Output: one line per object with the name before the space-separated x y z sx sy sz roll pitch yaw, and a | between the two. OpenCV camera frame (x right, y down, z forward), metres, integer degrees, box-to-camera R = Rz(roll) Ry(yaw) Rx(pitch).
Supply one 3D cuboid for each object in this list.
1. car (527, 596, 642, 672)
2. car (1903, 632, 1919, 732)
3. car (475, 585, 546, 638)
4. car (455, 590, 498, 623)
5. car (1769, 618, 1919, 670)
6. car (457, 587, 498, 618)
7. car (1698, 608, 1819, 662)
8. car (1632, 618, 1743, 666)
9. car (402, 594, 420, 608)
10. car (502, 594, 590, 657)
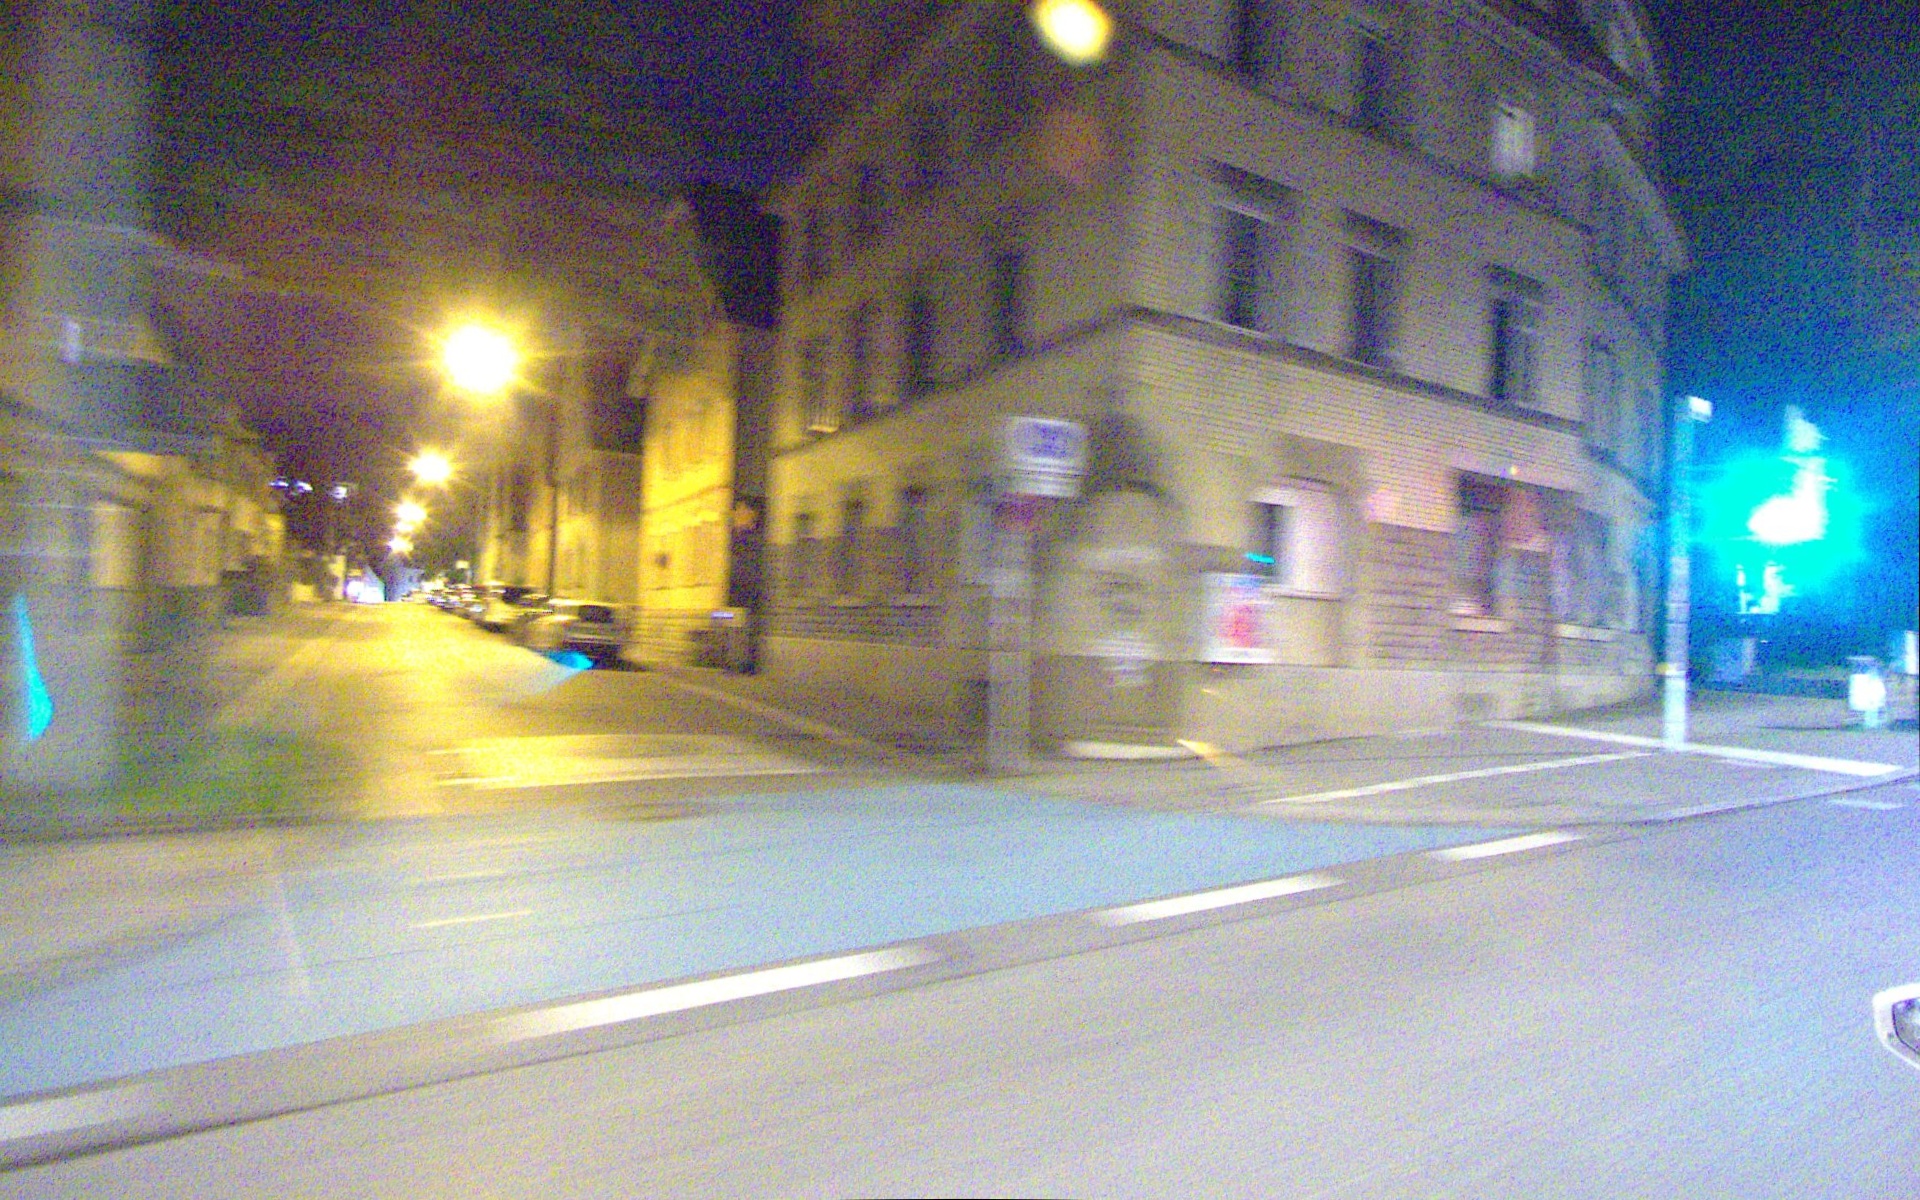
car | -9.287 0.785 24.672 1.907 1.562 3.968 6 -2 -30
car | 16.645 1.322 16.010 3.665 1.535 1.637 2 0 -35
car | -17.692 0.427 39.408 1.964 1.837 4.110 5 -2 -31
car | -25.793 0.324 53.512 1.773 1.606 3.906 2 0 -29
car | 30.619 1.475 34.526 1.736 1.444 3.980 2 2 -21
car | -28.101 0.124 58.437 1.914 1.719 3.906 2 0 -29
car | 25.788 1.133 32.416 4.141 1.558 1.746 2 2 -32
car | 21.872 1.251 30.183 3.525 1.334 1.547 2 0 -33
car | -77.838 0.127 142.515 1.974 1.806 3.974 2 0 -26
car | -12.056 0.691 29.092 1.745 1.562 3.968 6 -2 -30
